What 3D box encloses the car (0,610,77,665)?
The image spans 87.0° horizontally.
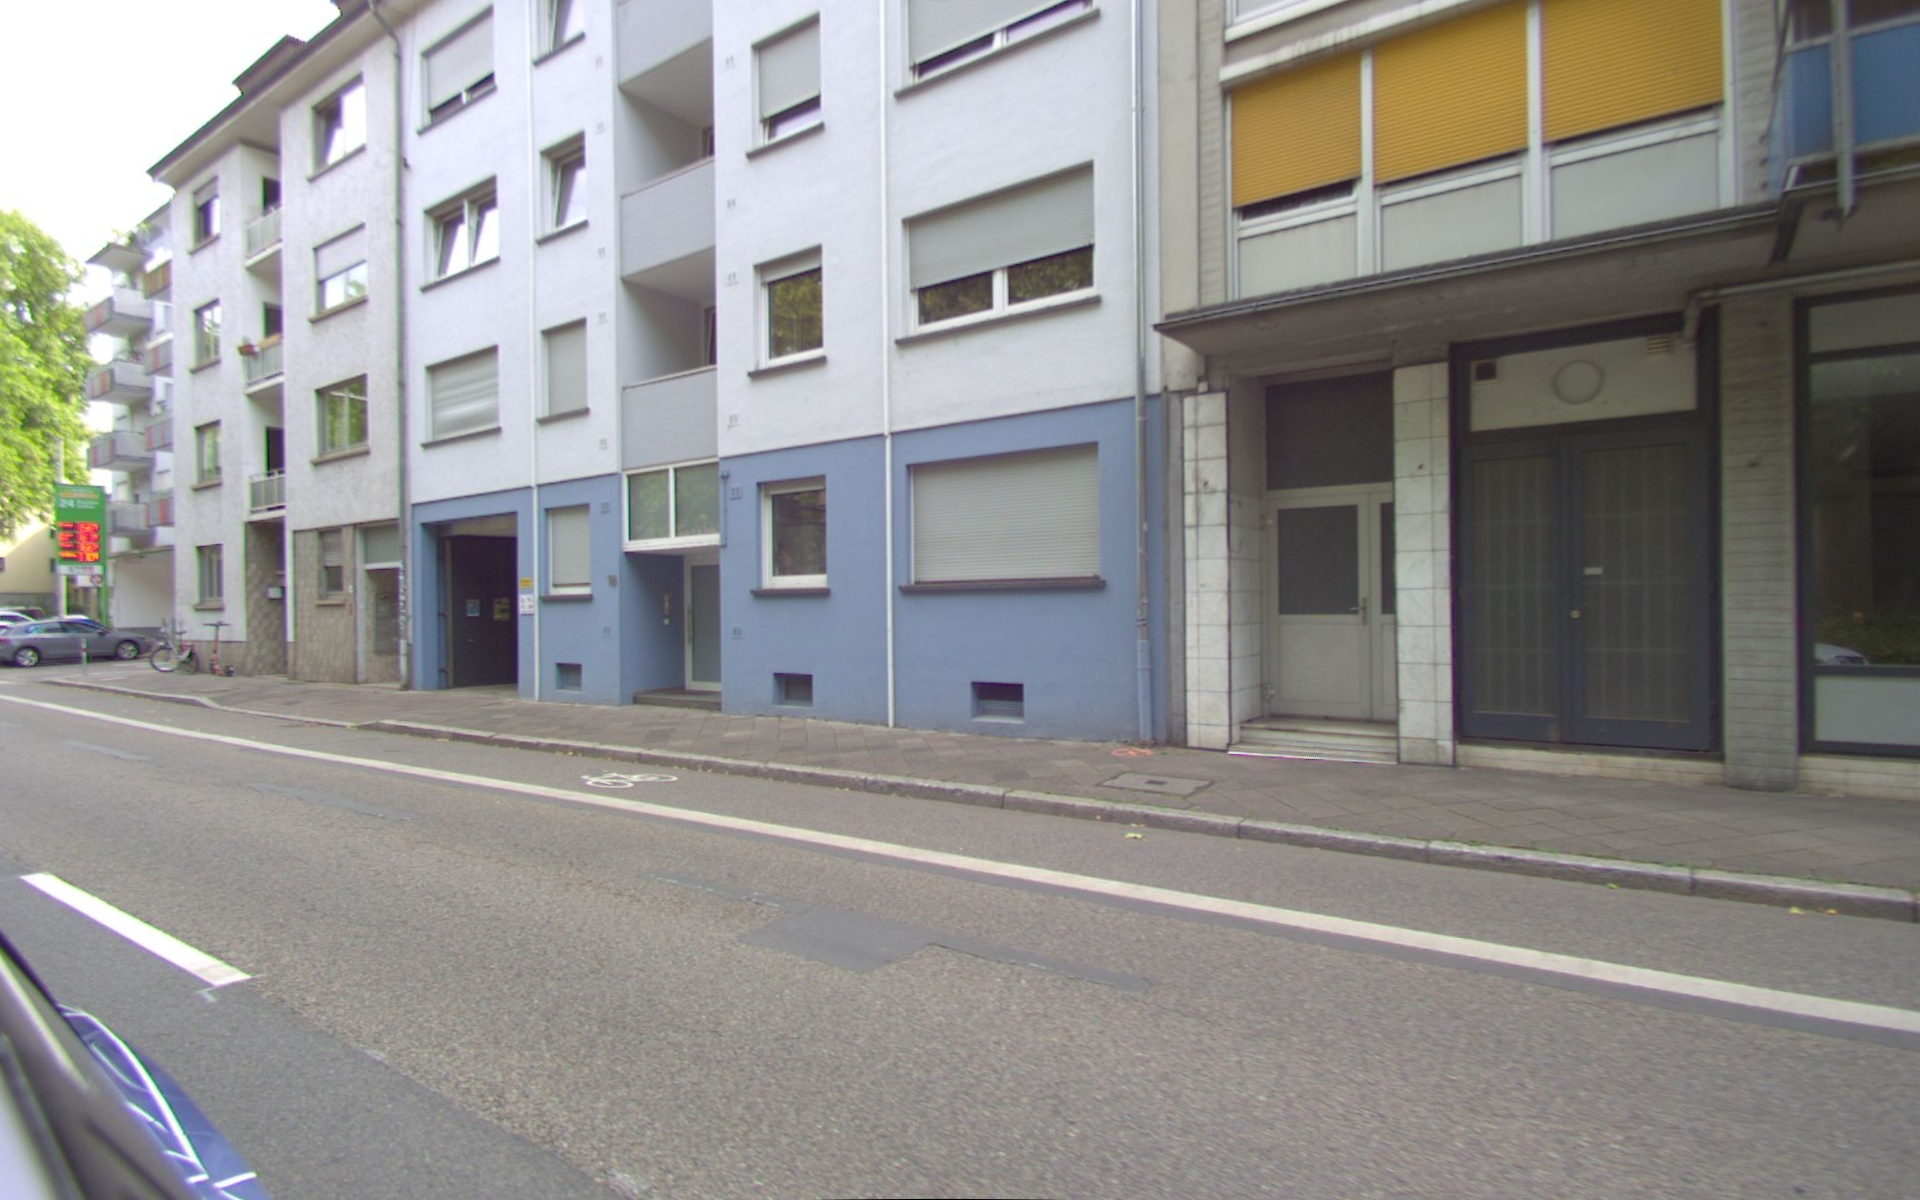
[{"bbox_3d":[-35.635,1.435,37.410,1.920,1.861,4.174,-2,1,36],"label":"car"}]

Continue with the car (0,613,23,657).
[{"bbox_3d":[-43.047,1.623,42.890,1.947,1.873,4.574,-2,2,37],"label":"car"}]

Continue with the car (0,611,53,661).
[{"bbox_3d":[-40.839,1.583,41.746,1.990,1.948,4.724,-2,2,37],"label":"car"}]

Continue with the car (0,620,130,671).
[{"bbox_3d":[-31.445,1.569,34.705,1.907,1.462,4.262,-2,1,36],"label":"car"}]

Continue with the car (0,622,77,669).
[{"bbox_3d":[-33.822,1.650,35.290,1.870,1.462,4.233,-2,1,36],"label":"car"}]

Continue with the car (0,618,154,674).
[{"bbox_3d":[-29.519,1.490,33.472,1.834,1.524,4.114,-2,1,36],"label":"car"}]

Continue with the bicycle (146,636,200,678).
[{"bbox_3d":[-19.106,1.377,24.564,1.659,0.957,0.591,-2,0,36],"label":"bicycle"}]

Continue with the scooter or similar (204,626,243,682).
[{"bbox_3d":[-16.829,1.230,23.112,1.199,1.231,0.346,-2,0,36],"label":"scooter or similar"}]
